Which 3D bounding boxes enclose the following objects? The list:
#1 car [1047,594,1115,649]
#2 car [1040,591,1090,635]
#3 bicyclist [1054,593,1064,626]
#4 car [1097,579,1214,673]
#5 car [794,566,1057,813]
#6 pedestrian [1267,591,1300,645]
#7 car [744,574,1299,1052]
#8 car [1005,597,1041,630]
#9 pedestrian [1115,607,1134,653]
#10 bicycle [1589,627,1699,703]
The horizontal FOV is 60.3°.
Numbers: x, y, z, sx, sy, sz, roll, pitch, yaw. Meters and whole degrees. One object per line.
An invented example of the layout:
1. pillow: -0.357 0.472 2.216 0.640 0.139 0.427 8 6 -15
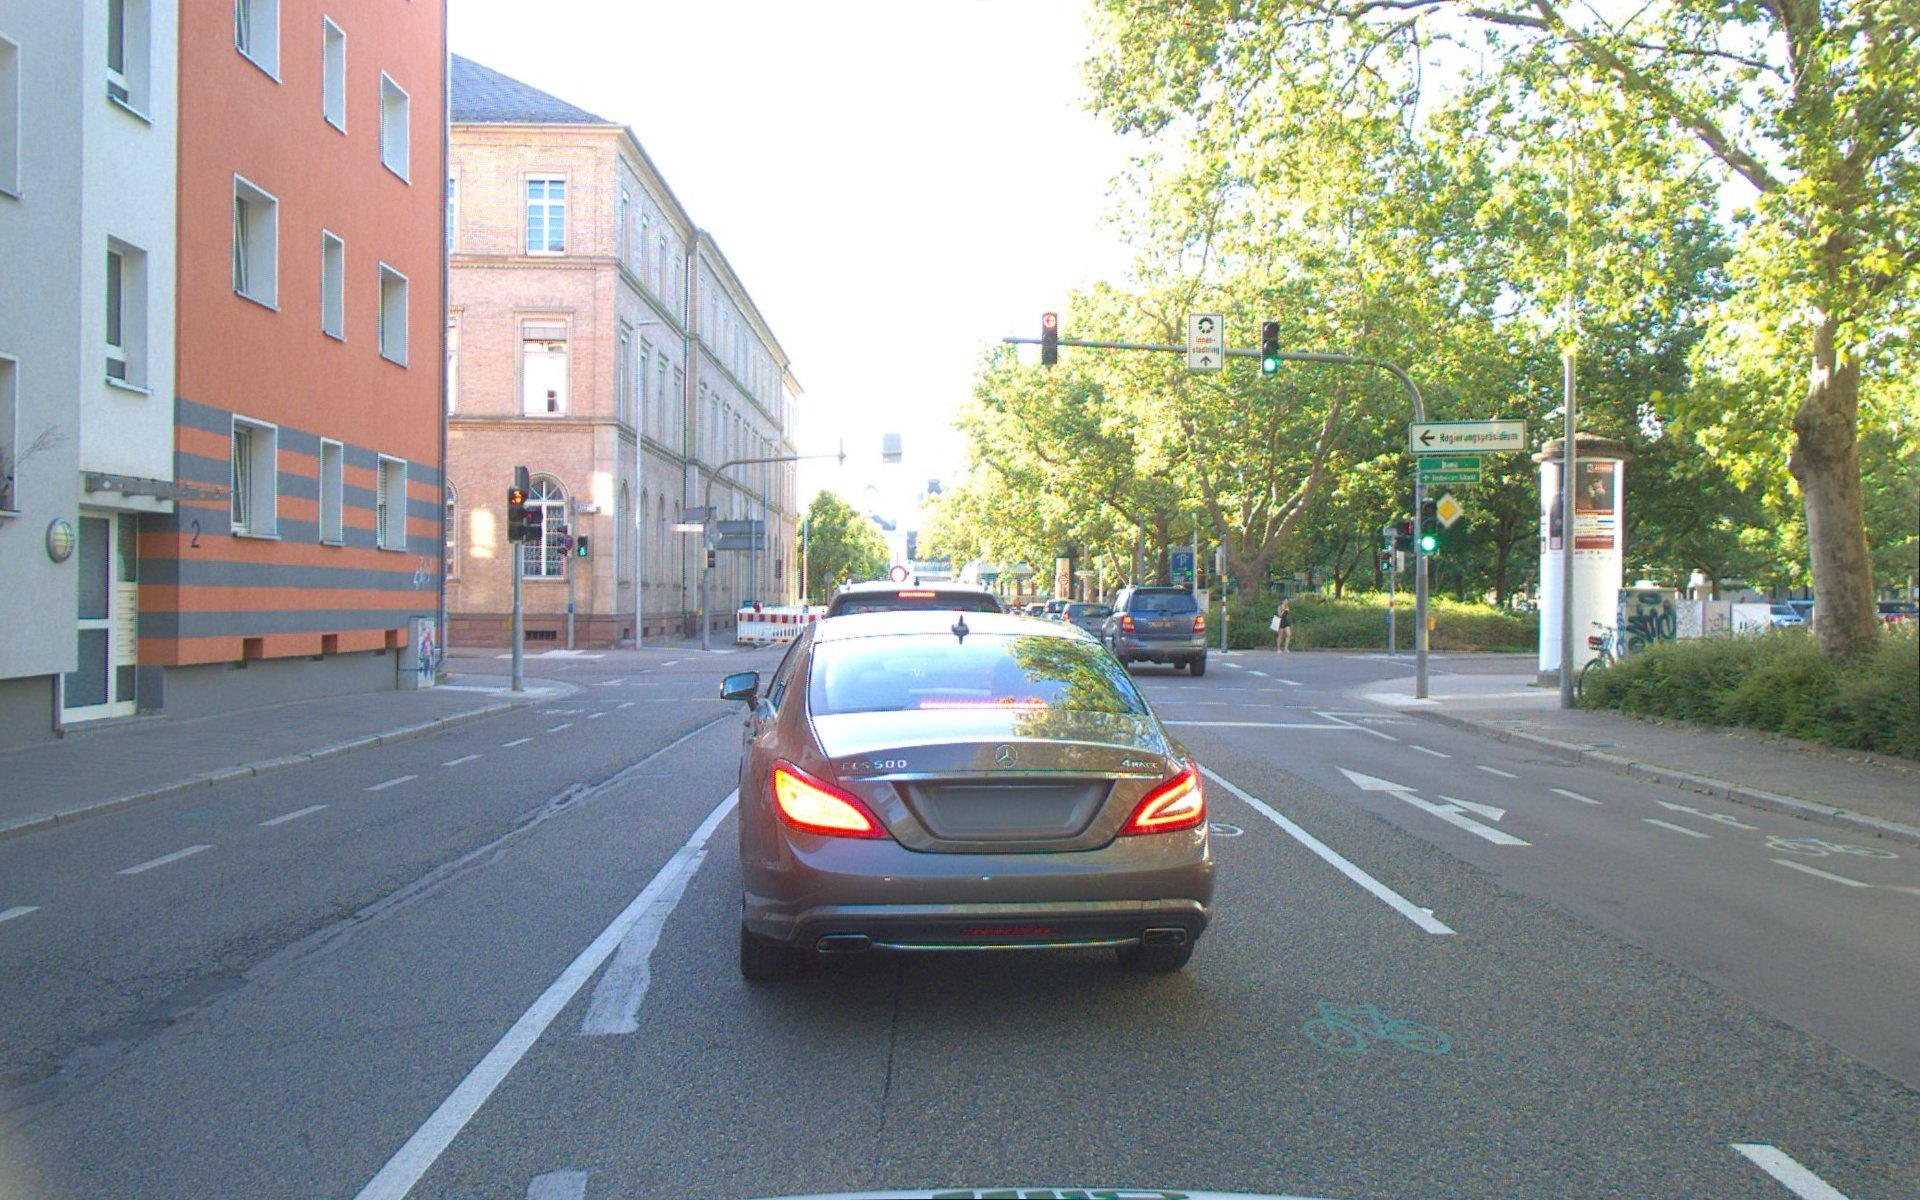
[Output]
1. car: 3.593 0.616 49.529 1.670 1.545 3.999 1 0 -1
2. car: 4.207 0.515 66.851 1.696 1.691 3.680 1 0 -1
3. bicyclist: 6.289 0.605 105.000 0.583 2.075 0.565 1 -1 -5
4. car: 3.966 0.502 34.239 1.823 1.794 4.481 1 0 -1
5. car: -0.267 0.621 13.601 1.823 1.712 3.999 1 0 -1
6. pedestrian: 9.575 0.541 48.963 0.625 1.572 0.907 1 -1 -14
7. car: -0.030 0.691 7.474 1.826 1.545 3.993 1 0 -8
8. car: 3.120 0.657 82.746 1.568 1.576 3.680 1 0 -1
9. pedestrian: 6.550 1.189 66.013 0.623 1.828 0.698 1 -1 -5
10. bicycle: 9.874 0.924 23.847 1.868 1.046 0.633 1 -1 -39
